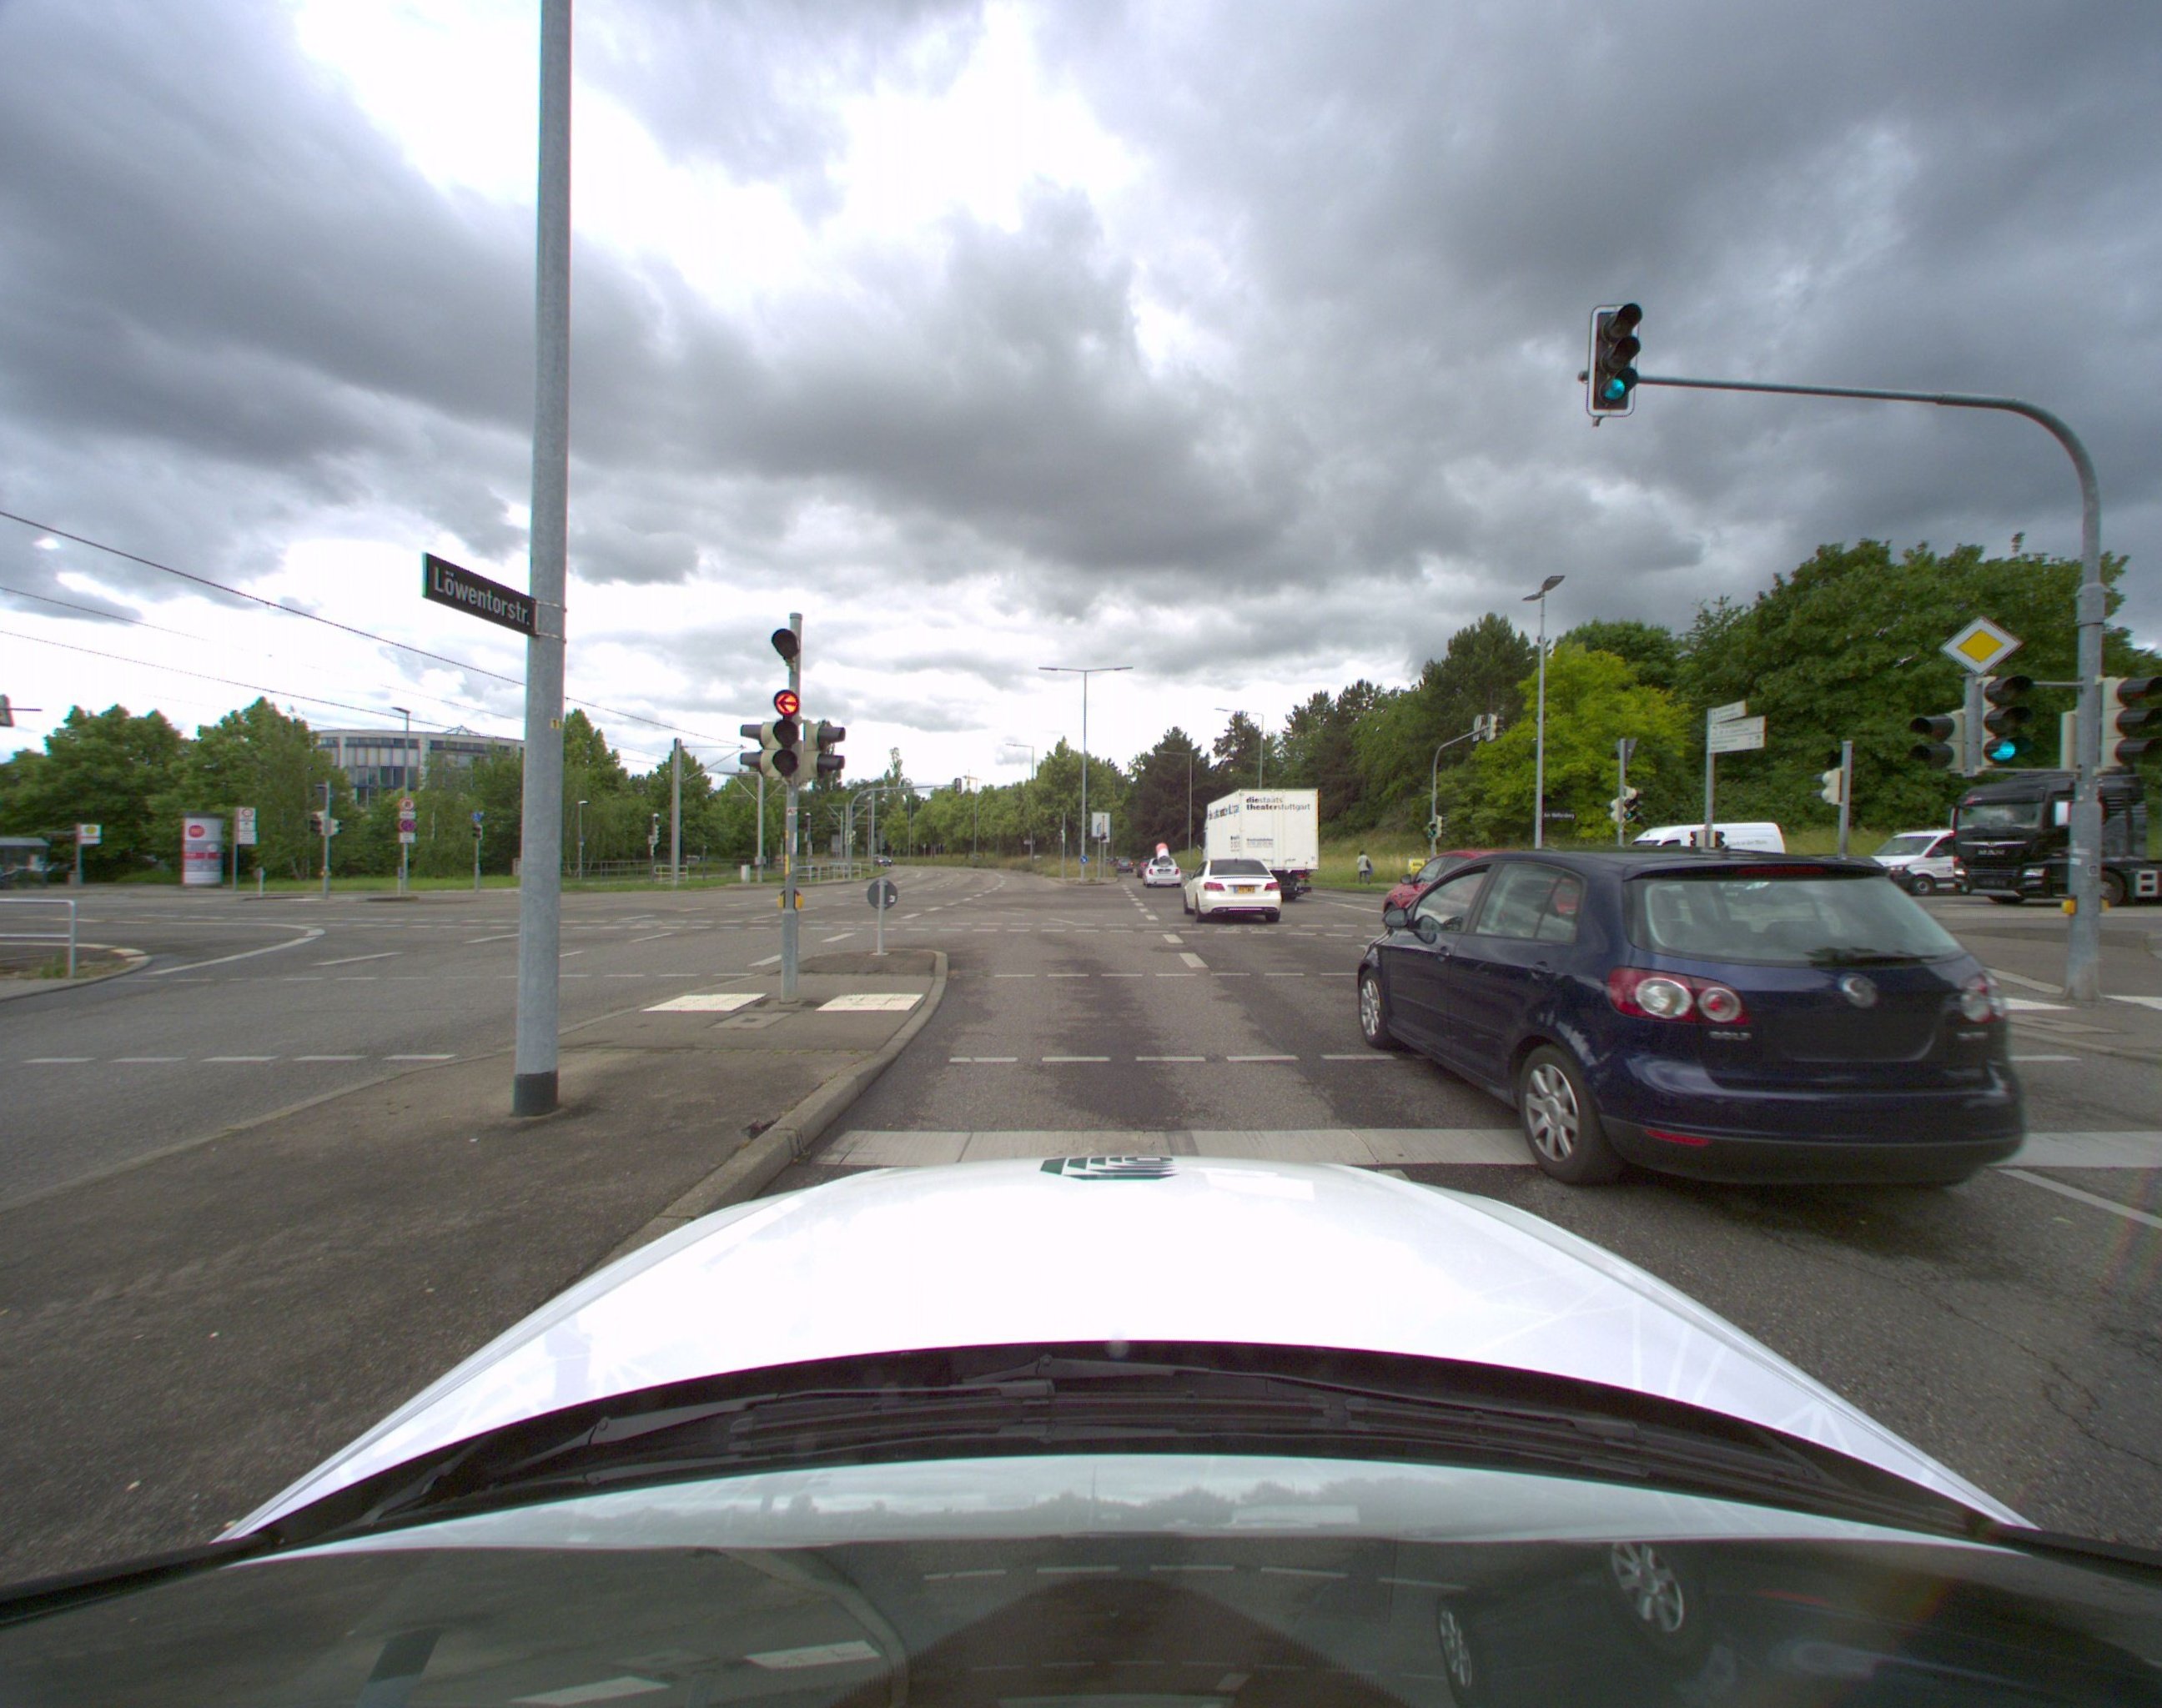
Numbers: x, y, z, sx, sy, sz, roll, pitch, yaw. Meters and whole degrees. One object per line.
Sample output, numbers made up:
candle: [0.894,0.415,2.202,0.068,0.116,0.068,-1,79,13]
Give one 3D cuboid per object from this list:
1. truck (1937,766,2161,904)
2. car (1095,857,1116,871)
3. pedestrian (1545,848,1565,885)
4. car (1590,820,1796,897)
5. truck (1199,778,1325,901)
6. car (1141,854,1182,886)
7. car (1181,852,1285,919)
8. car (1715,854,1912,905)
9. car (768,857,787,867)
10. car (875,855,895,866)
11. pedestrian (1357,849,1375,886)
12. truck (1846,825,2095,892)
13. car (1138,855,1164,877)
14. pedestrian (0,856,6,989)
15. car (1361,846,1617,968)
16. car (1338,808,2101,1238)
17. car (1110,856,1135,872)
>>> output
truck: [27.954,-0.503,22.282,5.971,3.486,2.694,-1,-1,4]
car: [2.686,1.043,88.982,1.744,1.508,3.990,0,0,-7]
pedestrian: [20.508,0.542,35.226,0.638,1.612,0.717,-1,-1,22]
car: [21.924,0.164,29.381,5.780,2.630,2.002,0,-1,3]
truck: [6.552,-0.499,31.252,2.793,3.903,10.184,0,0,1]
car: [3.950,0.783,40.360,1.814,1.506,3.497,0,0,2]
car: [3.497,0.692,19.510,1.793,1.412,4.318,0,-1,1]
car: [20.312,0.699,22.707,3.859,1.338,1.698,0,-1,4]
car: [-59.920,1.573,160.807,3.950,1.791,1.888,-1,-1,43]
car: [-28.980,0.958,120.454,1.807,1.587,3.960,0,-1,-31]
pedestrian: [13.026,0.597,37.196,0.640,1.662,0.715,0,-1,8]
truck: [31.021,0.168,28.585,5.992,2.230,2.165,0,-1,5]
car: [4.916,0.811,57.438,1.618,1.493,3.838,0,0,1]
pedestrian: [-12.832,0.793,9.103,0.632,1.536,0.719,0,-1,-2]
car: [5.889,0.655,12.444,1.840,1.530,4.378,0,0,2]
car: [3.017,0.651,5.052,1.658,1.598,3.997,0,-1,1]
car: [3.966,0.941,78.198,1.744,1.508,4.039,0,0,-6]
